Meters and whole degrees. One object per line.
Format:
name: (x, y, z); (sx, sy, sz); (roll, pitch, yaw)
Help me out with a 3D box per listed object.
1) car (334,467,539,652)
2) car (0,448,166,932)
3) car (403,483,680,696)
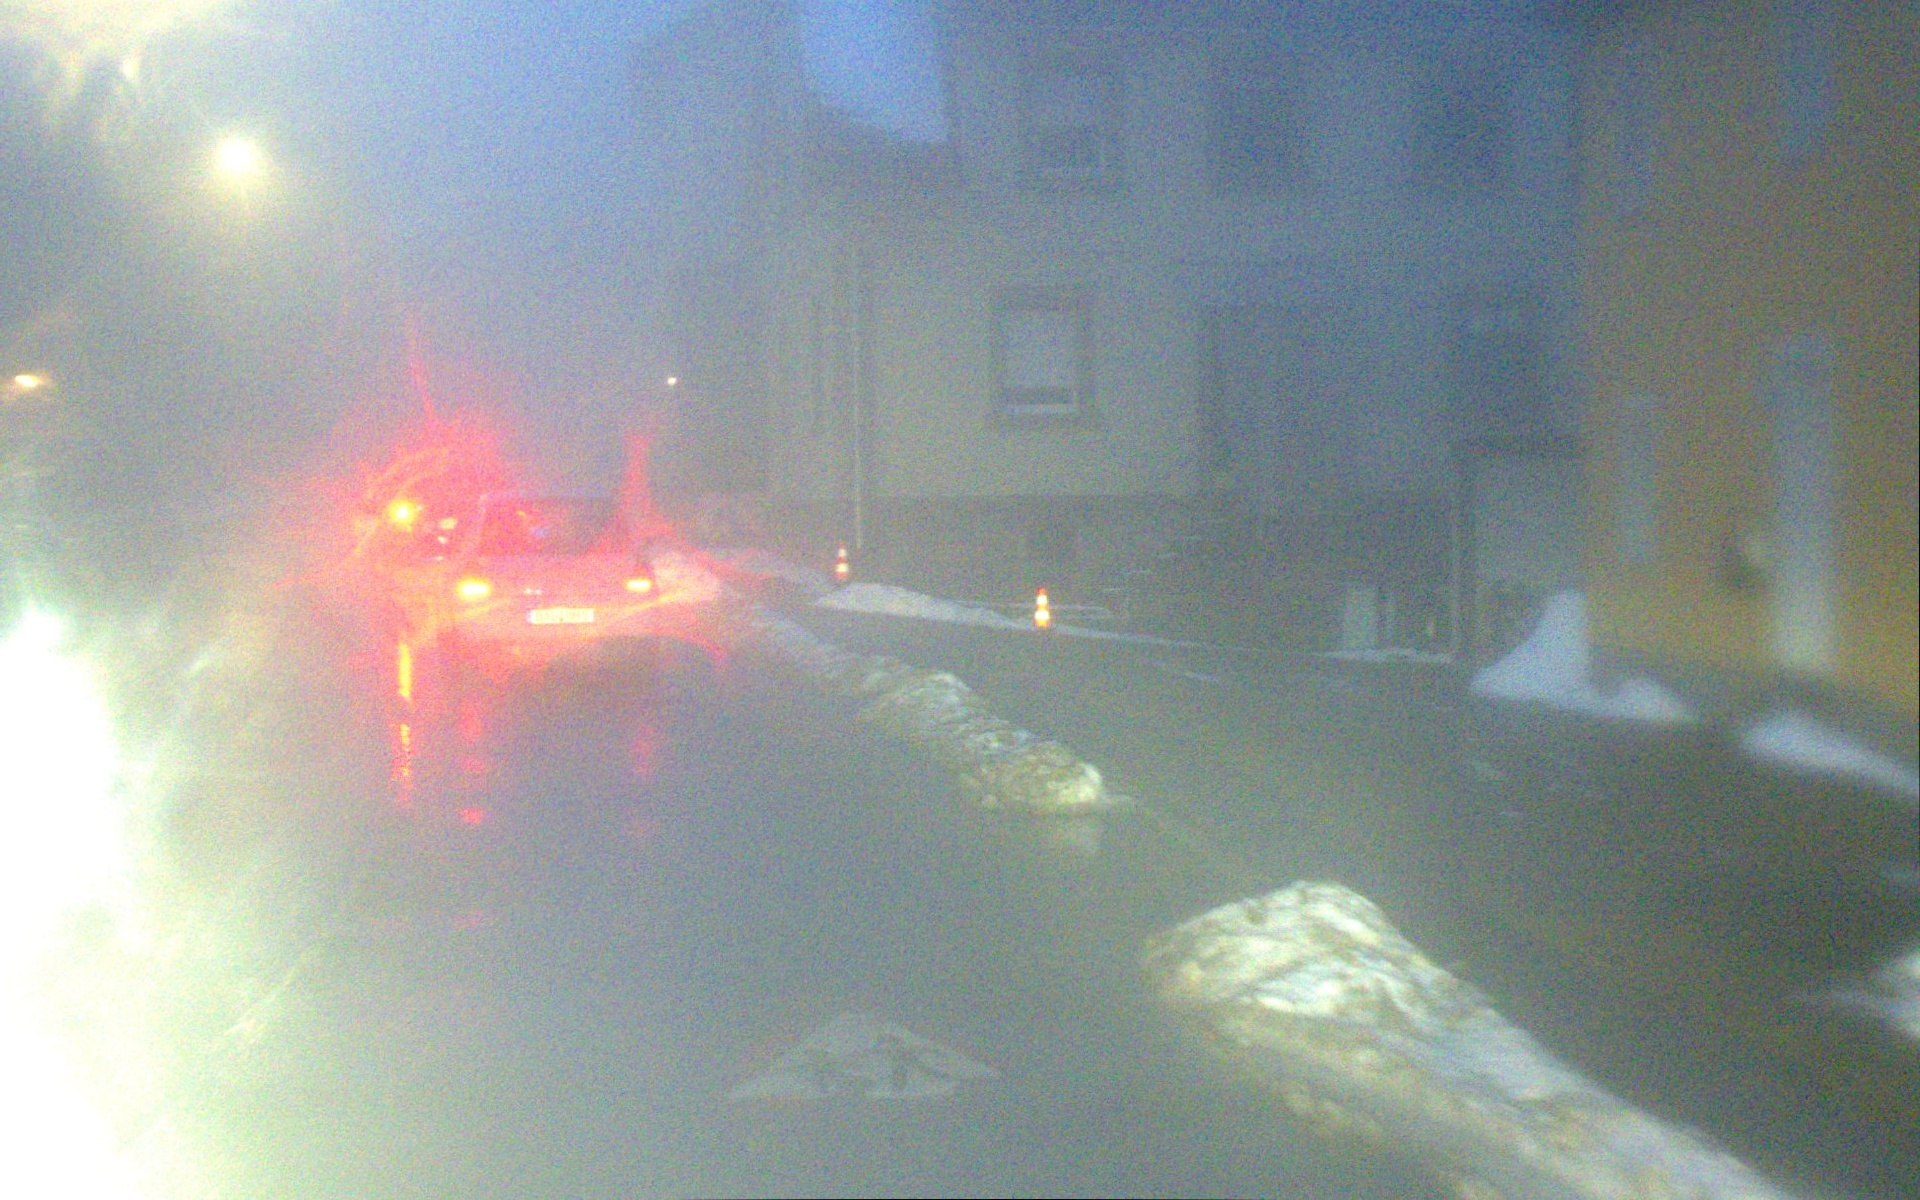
car: (-6.218, -0.447, 41.235); (1.993, 2.007, 4.000); (3, -1, -4)
car: (-4.337, 0.269, 13.138); (1.840, 1.681, 4.479); (0, 2, -4)
car: (-3.348, -0.062, 27.903); (1.993, 1.503, 4.001); (3, -1, -6)
